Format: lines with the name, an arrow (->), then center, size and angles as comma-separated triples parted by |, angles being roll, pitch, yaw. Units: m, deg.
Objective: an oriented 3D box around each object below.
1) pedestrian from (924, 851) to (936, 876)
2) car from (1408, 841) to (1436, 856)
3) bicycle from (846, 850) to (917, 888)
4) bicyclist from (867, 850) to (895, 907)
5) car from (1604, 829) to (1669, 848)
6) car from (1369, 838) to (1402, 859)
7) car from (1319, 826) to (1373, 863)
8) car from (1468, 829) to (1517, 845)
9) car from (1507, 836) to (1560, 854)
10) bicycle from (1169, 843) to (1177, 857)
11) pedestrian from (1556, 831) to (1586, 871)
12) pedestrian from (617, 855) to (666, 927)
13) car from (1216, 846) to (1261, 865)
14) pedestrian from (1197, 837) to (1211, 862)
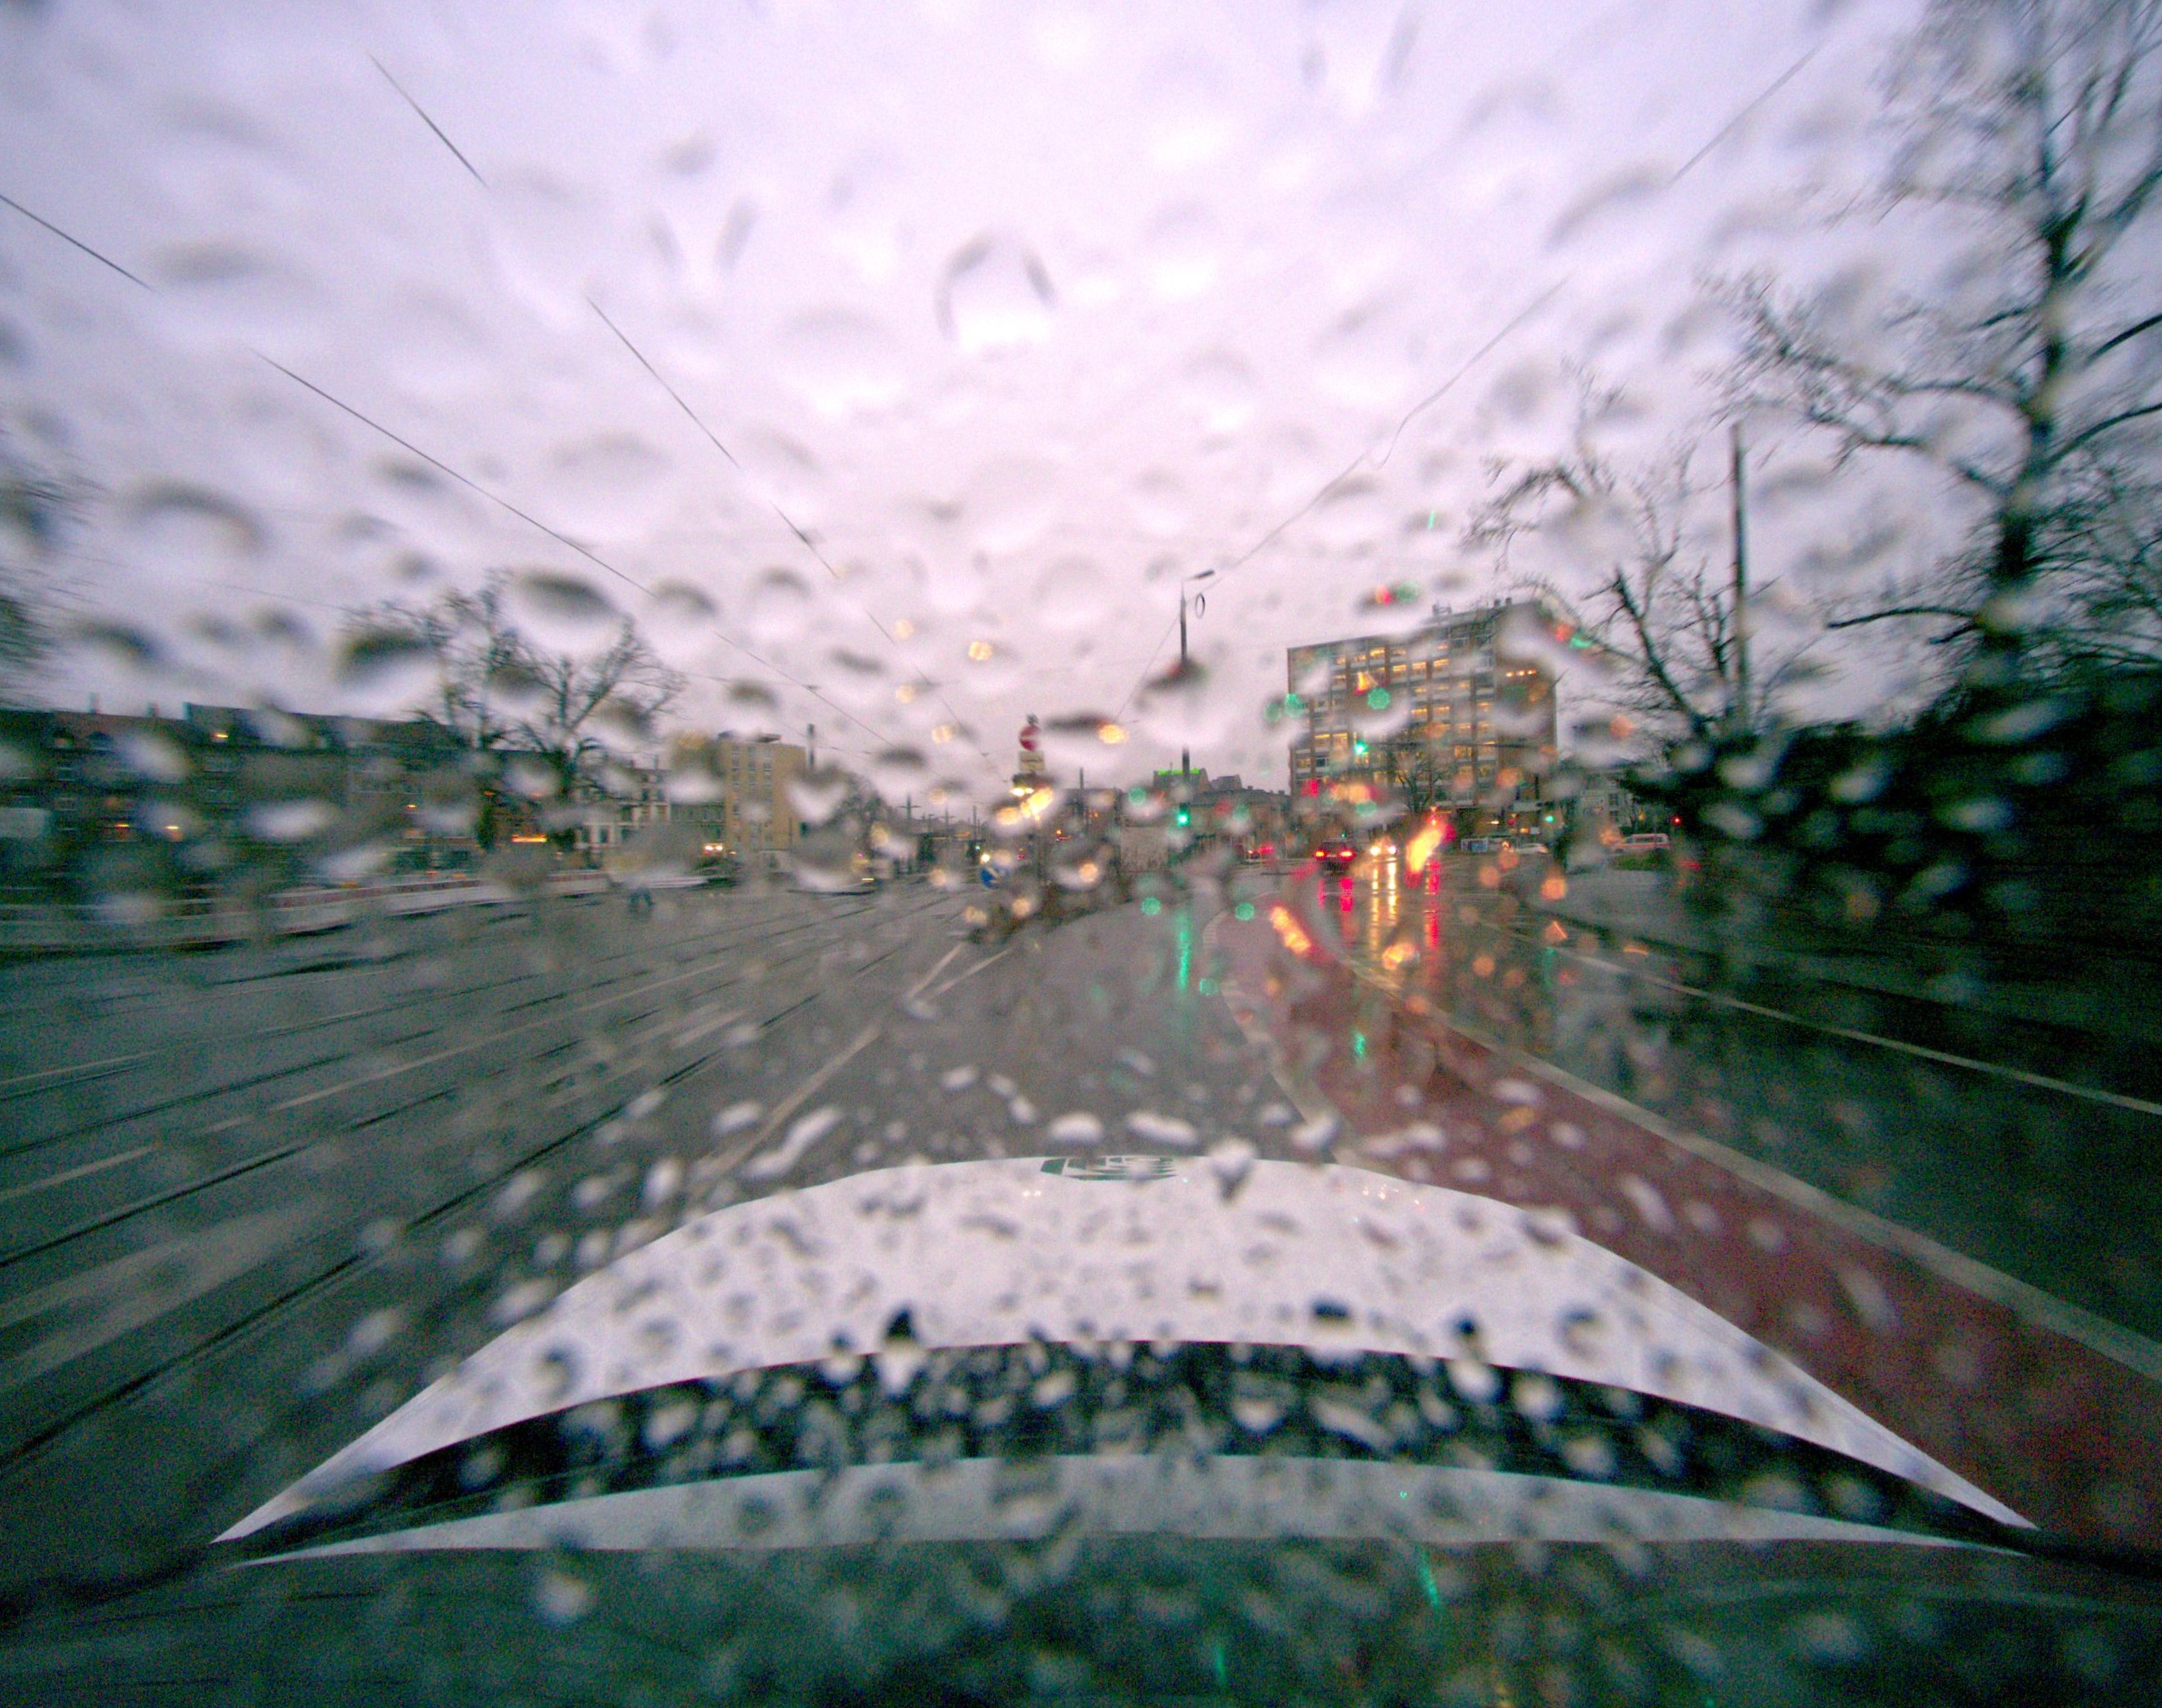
pedestrian -> -10.854, 0.680, 58.462 | 0.710, 1.757, 0.717 | 0, 0, -1
car -> 33.740, -0.566, 80.477 | 1.730, 1.378, 4.395 | -3, 0, 33
bicycle -> -6.322, 0.452, 25.943 | 0.620, 1.074, 2.223 | 0, 2, 41
bicyclist -> -6.367, 0.767, 25.908 | 0.604, 1.768, 0.593 | 0, -1, 43
car -> 56.580, -1.537, 83.015 | 2.010, 1.913, 5.111 | -1, 1, -41
car -> 26.591, -0.502, 71.062 | 1.737, 1.662, 4.559 | -3, 0, 33
car -> 13.700, -0.524, 41.941 | 1.631, 1.818, 4.026 | 0, 2, 34
car -> 54.235, -2.259, 107.383 | 5.494, 2.024, 2.012 | 0, 0, 40
car -> 51.410, -0.995, 92.615 | 2.011, 2.014, 4.887 | 1, 0, -44
bicycle -> 7.622, -0.316, 67.570 | 0.546, 1.165, 1.901 | 1, 0, 4
pedestrian -> 21.007, -0.130, 34.945 | 0.798, 1.684, 1.162 | -3, 0, 17
pedestrian -> -14.898, 1.241, 27.605 | 0.984, 2.370, 1.071 | 0, -1, 29
car -> 18.636, 0.178, 96.404 | 2.270, 2.281, 4.979 | 1, 0, -40
pedestrian -> 8.326, -0.304, 55.294 | 0.666, 1.674, 0.735 | 0, -1, 37
